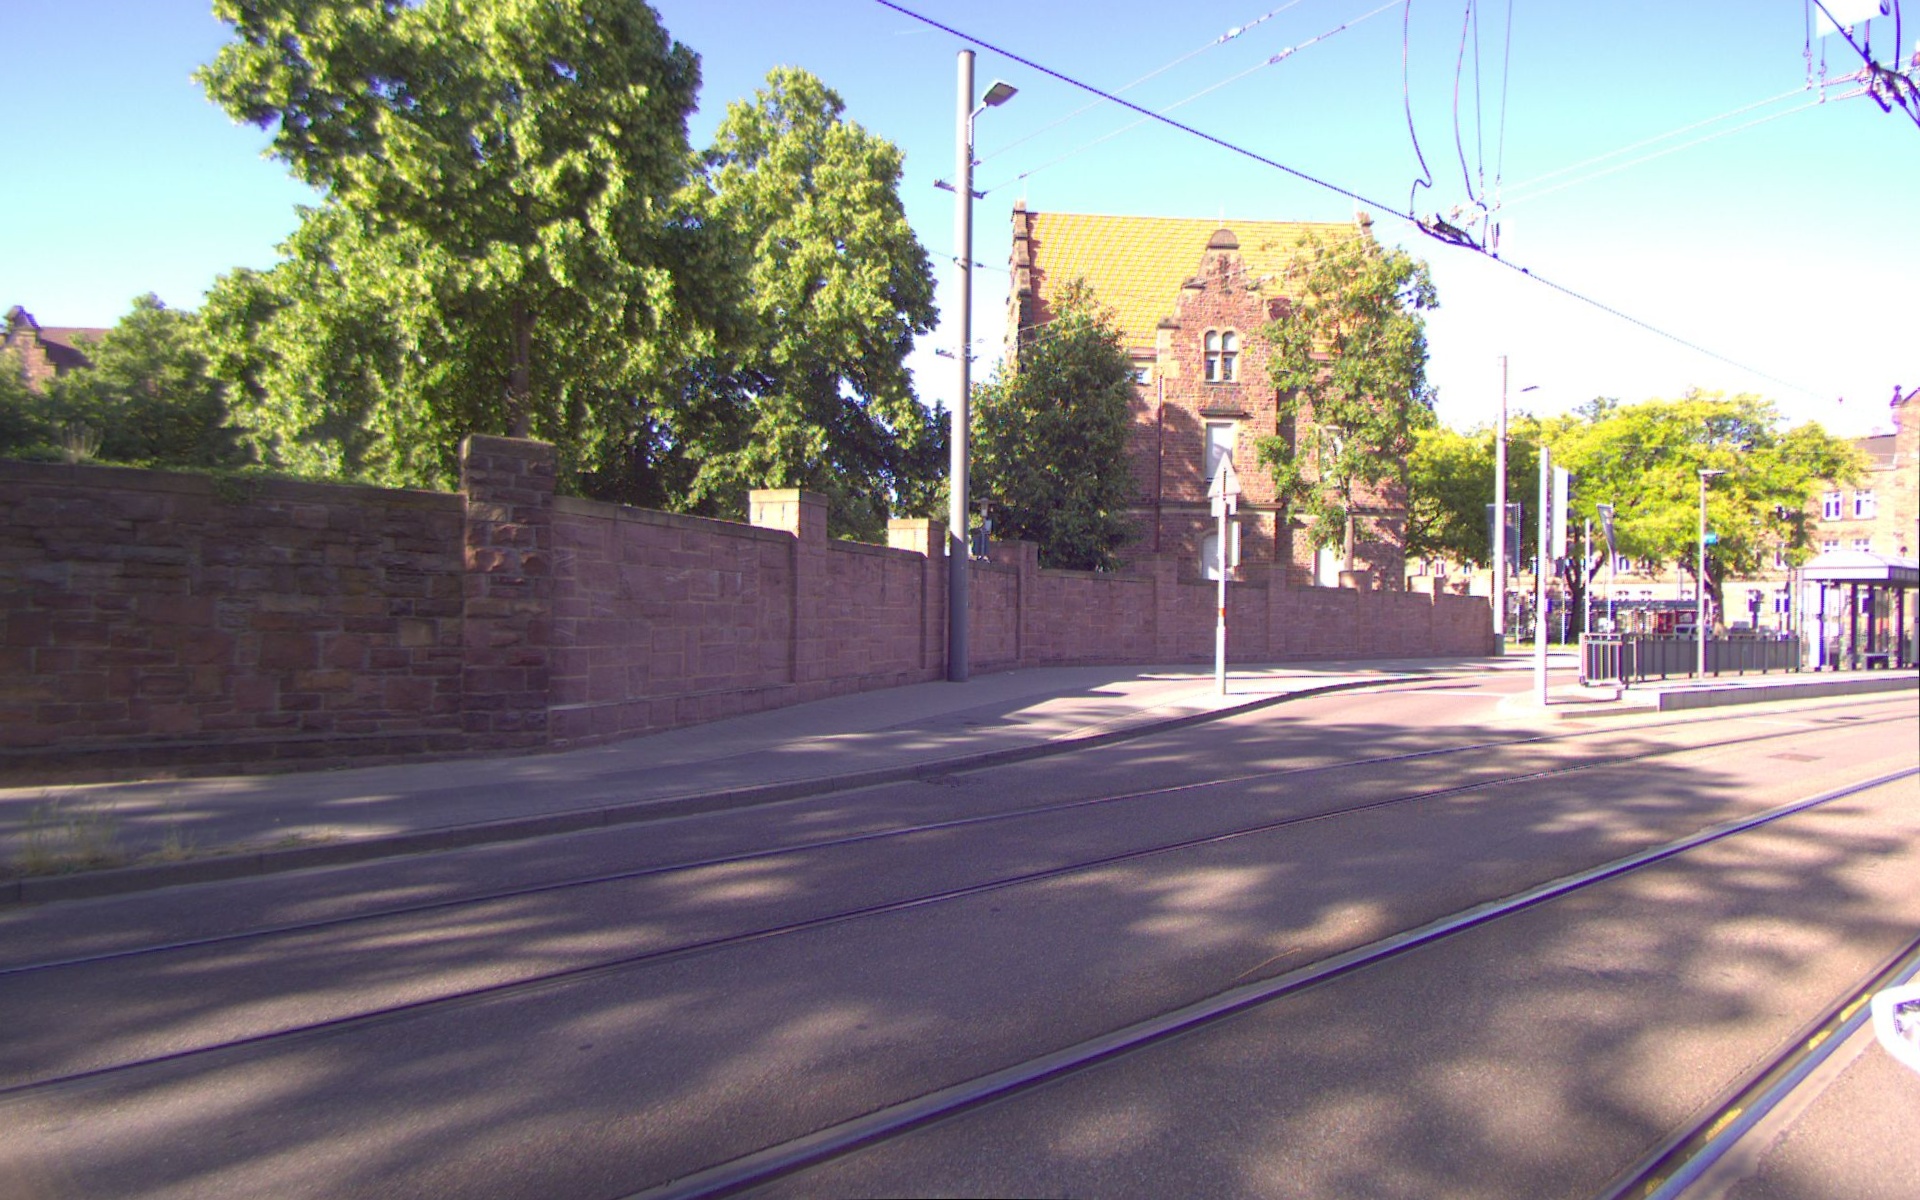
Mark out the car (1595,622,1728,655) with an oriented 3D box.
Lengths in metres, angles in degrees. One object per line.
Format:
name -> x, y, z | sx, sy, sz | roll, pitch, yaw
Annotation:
car -> 47.927, 2.587, 68.799 | 2.957, 1.946, 6.915 | 1, -1, -30

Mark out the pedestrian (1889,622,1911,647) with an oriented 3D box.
pedestrian -> 63.784, 2.328, 68.161 | 0.796, 1.609, 0.926 | 2, 0, -34
